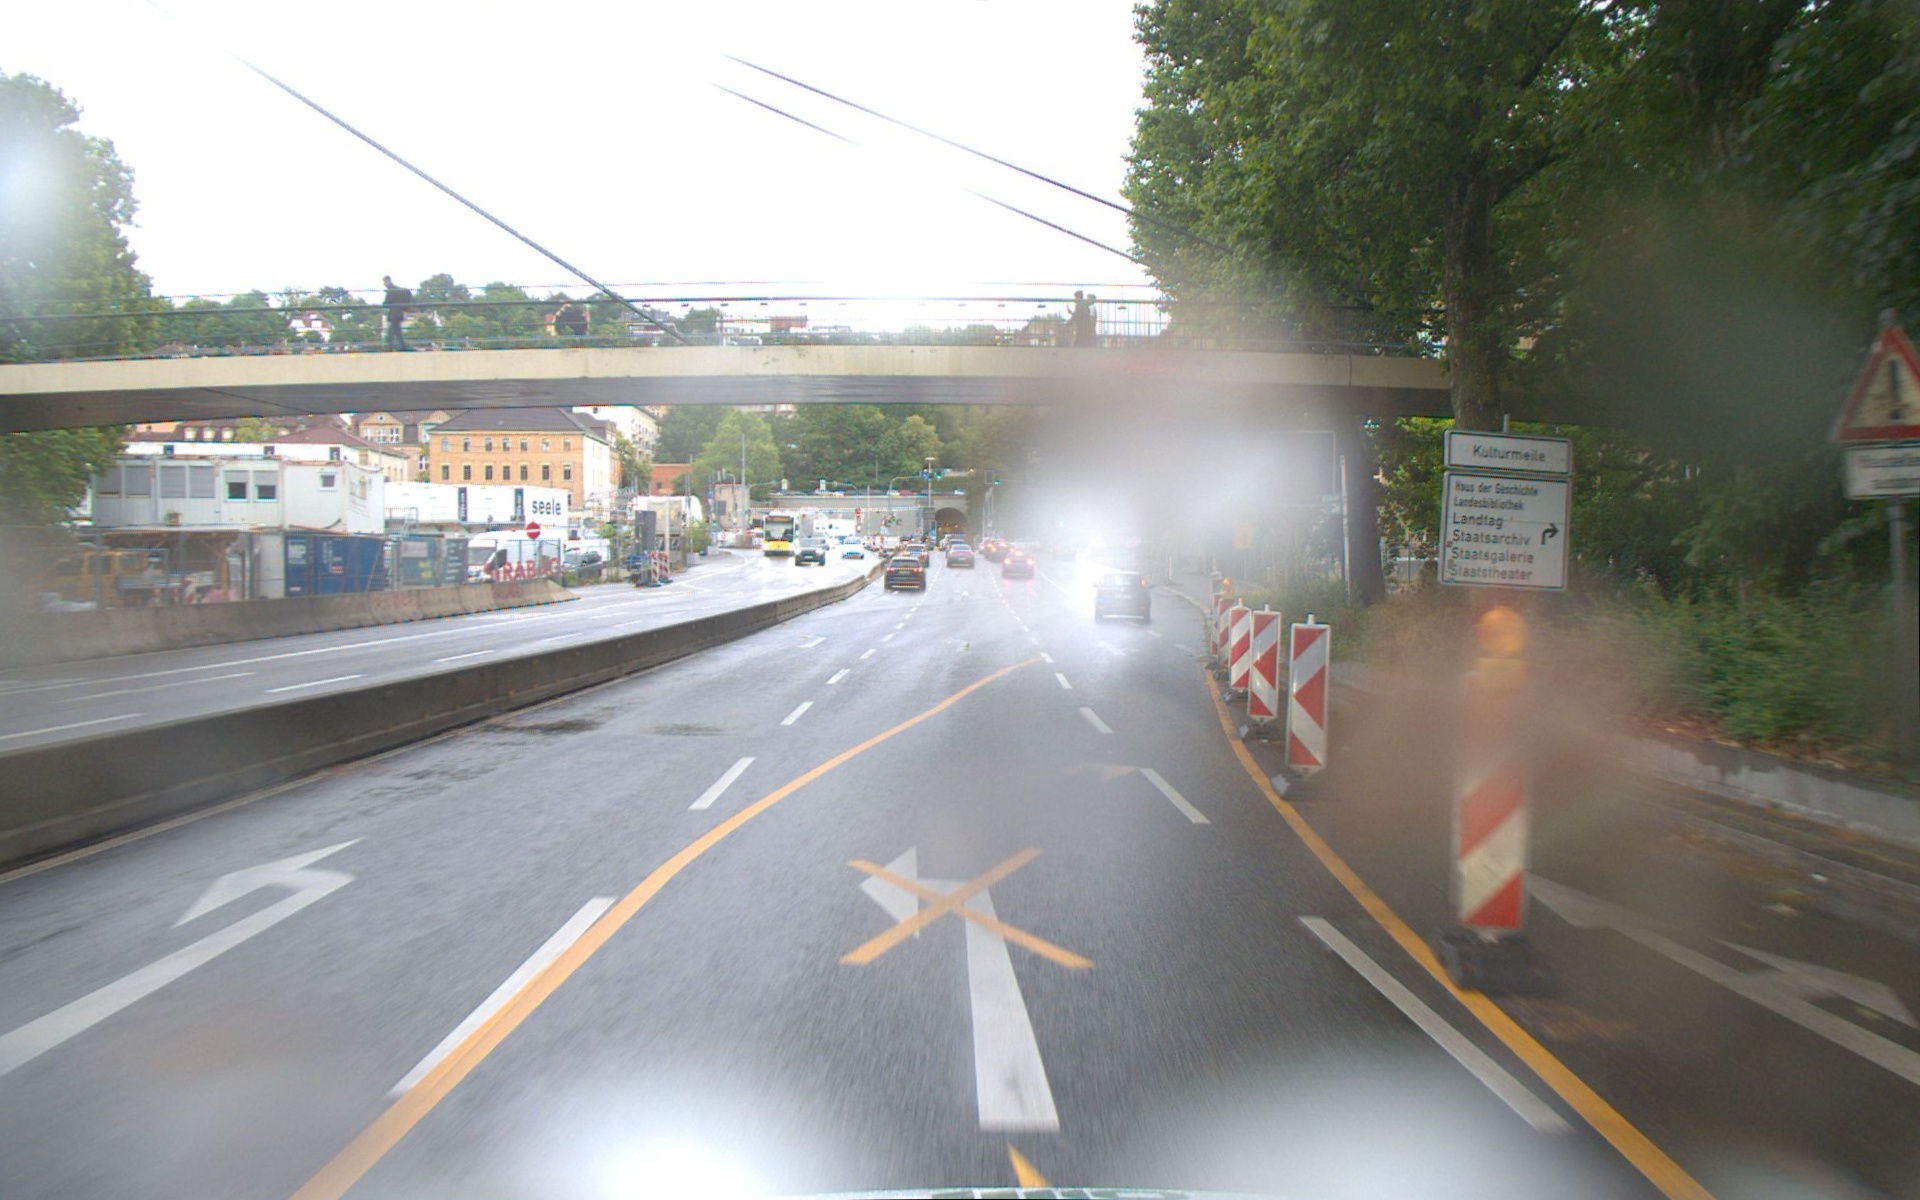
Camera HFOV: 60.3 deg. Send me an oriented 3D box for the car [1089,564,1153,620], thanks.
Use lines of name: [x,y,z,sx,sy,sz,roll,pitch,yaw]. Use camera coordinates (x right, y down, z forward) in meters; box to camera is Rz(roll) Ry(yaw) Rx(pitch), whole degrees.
car: [4.744,-0.261,49.046,1.774,1.553,4.003,-1,1,5]

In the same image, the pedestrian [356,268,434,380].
pedestrian: [-11.616,-5.660,34.049,1.123,2.096,1.060,-1,0,7]

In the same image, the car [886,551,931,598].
car: [-2.344,-1.136,75.749,1.976,2.049,3.999,-1,0,-1]

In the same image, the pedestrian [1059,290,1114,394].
pedestrian: [2.781,-5.648,36.315,1.123,2.096,1.060,-1,0,7]

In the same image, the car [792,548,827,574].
car: [-9.981,-2.592,110.146,2.040,1.659,4.852,-1,2,-2]

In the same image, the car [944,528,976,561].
car: [-0.006,-3.724,111.919,2.010,2.049,3.999,-1,0,-2]

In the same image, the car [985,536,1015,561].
car: [3.047,-3.911,126.015,1.954,1.728,3.998,-1,0,-3]

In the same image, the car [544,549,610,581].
car: [-19.916,-1.799,86.179,1.724,1.593,4.687,-1,0,8]

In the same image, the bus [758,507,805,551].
bus: [-13.844,-5.474,128.965,2.749,3.240,8.807,-1,1,-1]

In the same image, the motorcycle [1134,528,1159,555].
motorcycle: [15.101,-4.748,133.912,1.758,2.048,3.815,0,3,3]

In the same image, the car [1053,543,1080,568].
car: [8.850,-3.726,137.735,1.953,2.048,3.999,0,1,-2]

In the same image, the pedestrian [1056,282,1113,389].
pedestrian: [2.661,-5.623,35.283,1.123,2.096,1.060,-1,0,7]

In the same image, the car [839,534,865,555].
car: [-8.097,-4.173,124.652,1.674,1.515,3.451,-1,0,0]

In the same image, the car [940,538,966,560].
car: [-0.706,-4.993,162.015,2.246,2.049,4.602,-1,0,-3]

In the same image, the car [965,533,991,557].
car: [1.624,-4.880,148.008,1.954,2.048,3.997,-1,1,-4]

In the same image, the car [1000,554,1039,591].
car: [3.474,-1.589,96.743,2.062,2.086,3.999,-1,0,-1]

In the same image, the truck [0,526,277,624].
truck: [-22.298,-0.672,45.186,6.159,2.495,2.689,-1,0,-8]

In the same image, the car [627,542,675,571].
car: [-18.617,-2.665,99.782,1.952,1.649,4.003,0,3,3]

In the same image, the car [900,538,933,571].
car: [-2.879,-3.023,110.186,1.952,2.049,4.001,-1,0,2]

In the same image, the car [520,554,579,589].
car: [-20.105,-1.406,81.153,1.725,1.592,4.177,0,2,2]

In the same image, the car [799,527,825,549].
car: [-12.662,-5.311,141.475,1.998,1.691,4.930,-1,0,-3]

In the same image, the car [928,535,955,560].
car: [-1.481,-4.152,131.154,1.953,1.902,3.998,-1,0,-2]

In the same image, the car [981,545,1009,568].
car: [2.791,-3.481,132.223,1.954,1.728,3.998,-1,0,-3]

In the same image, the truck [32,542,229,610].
truck: [-26.454,-0.778,52.906,5.145,2.048,2.161,-1,1,-5]

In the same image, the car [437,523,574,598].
car: [-18.681,-1.598,68.371,1.954,2.925,6.047,-1,0,26]
